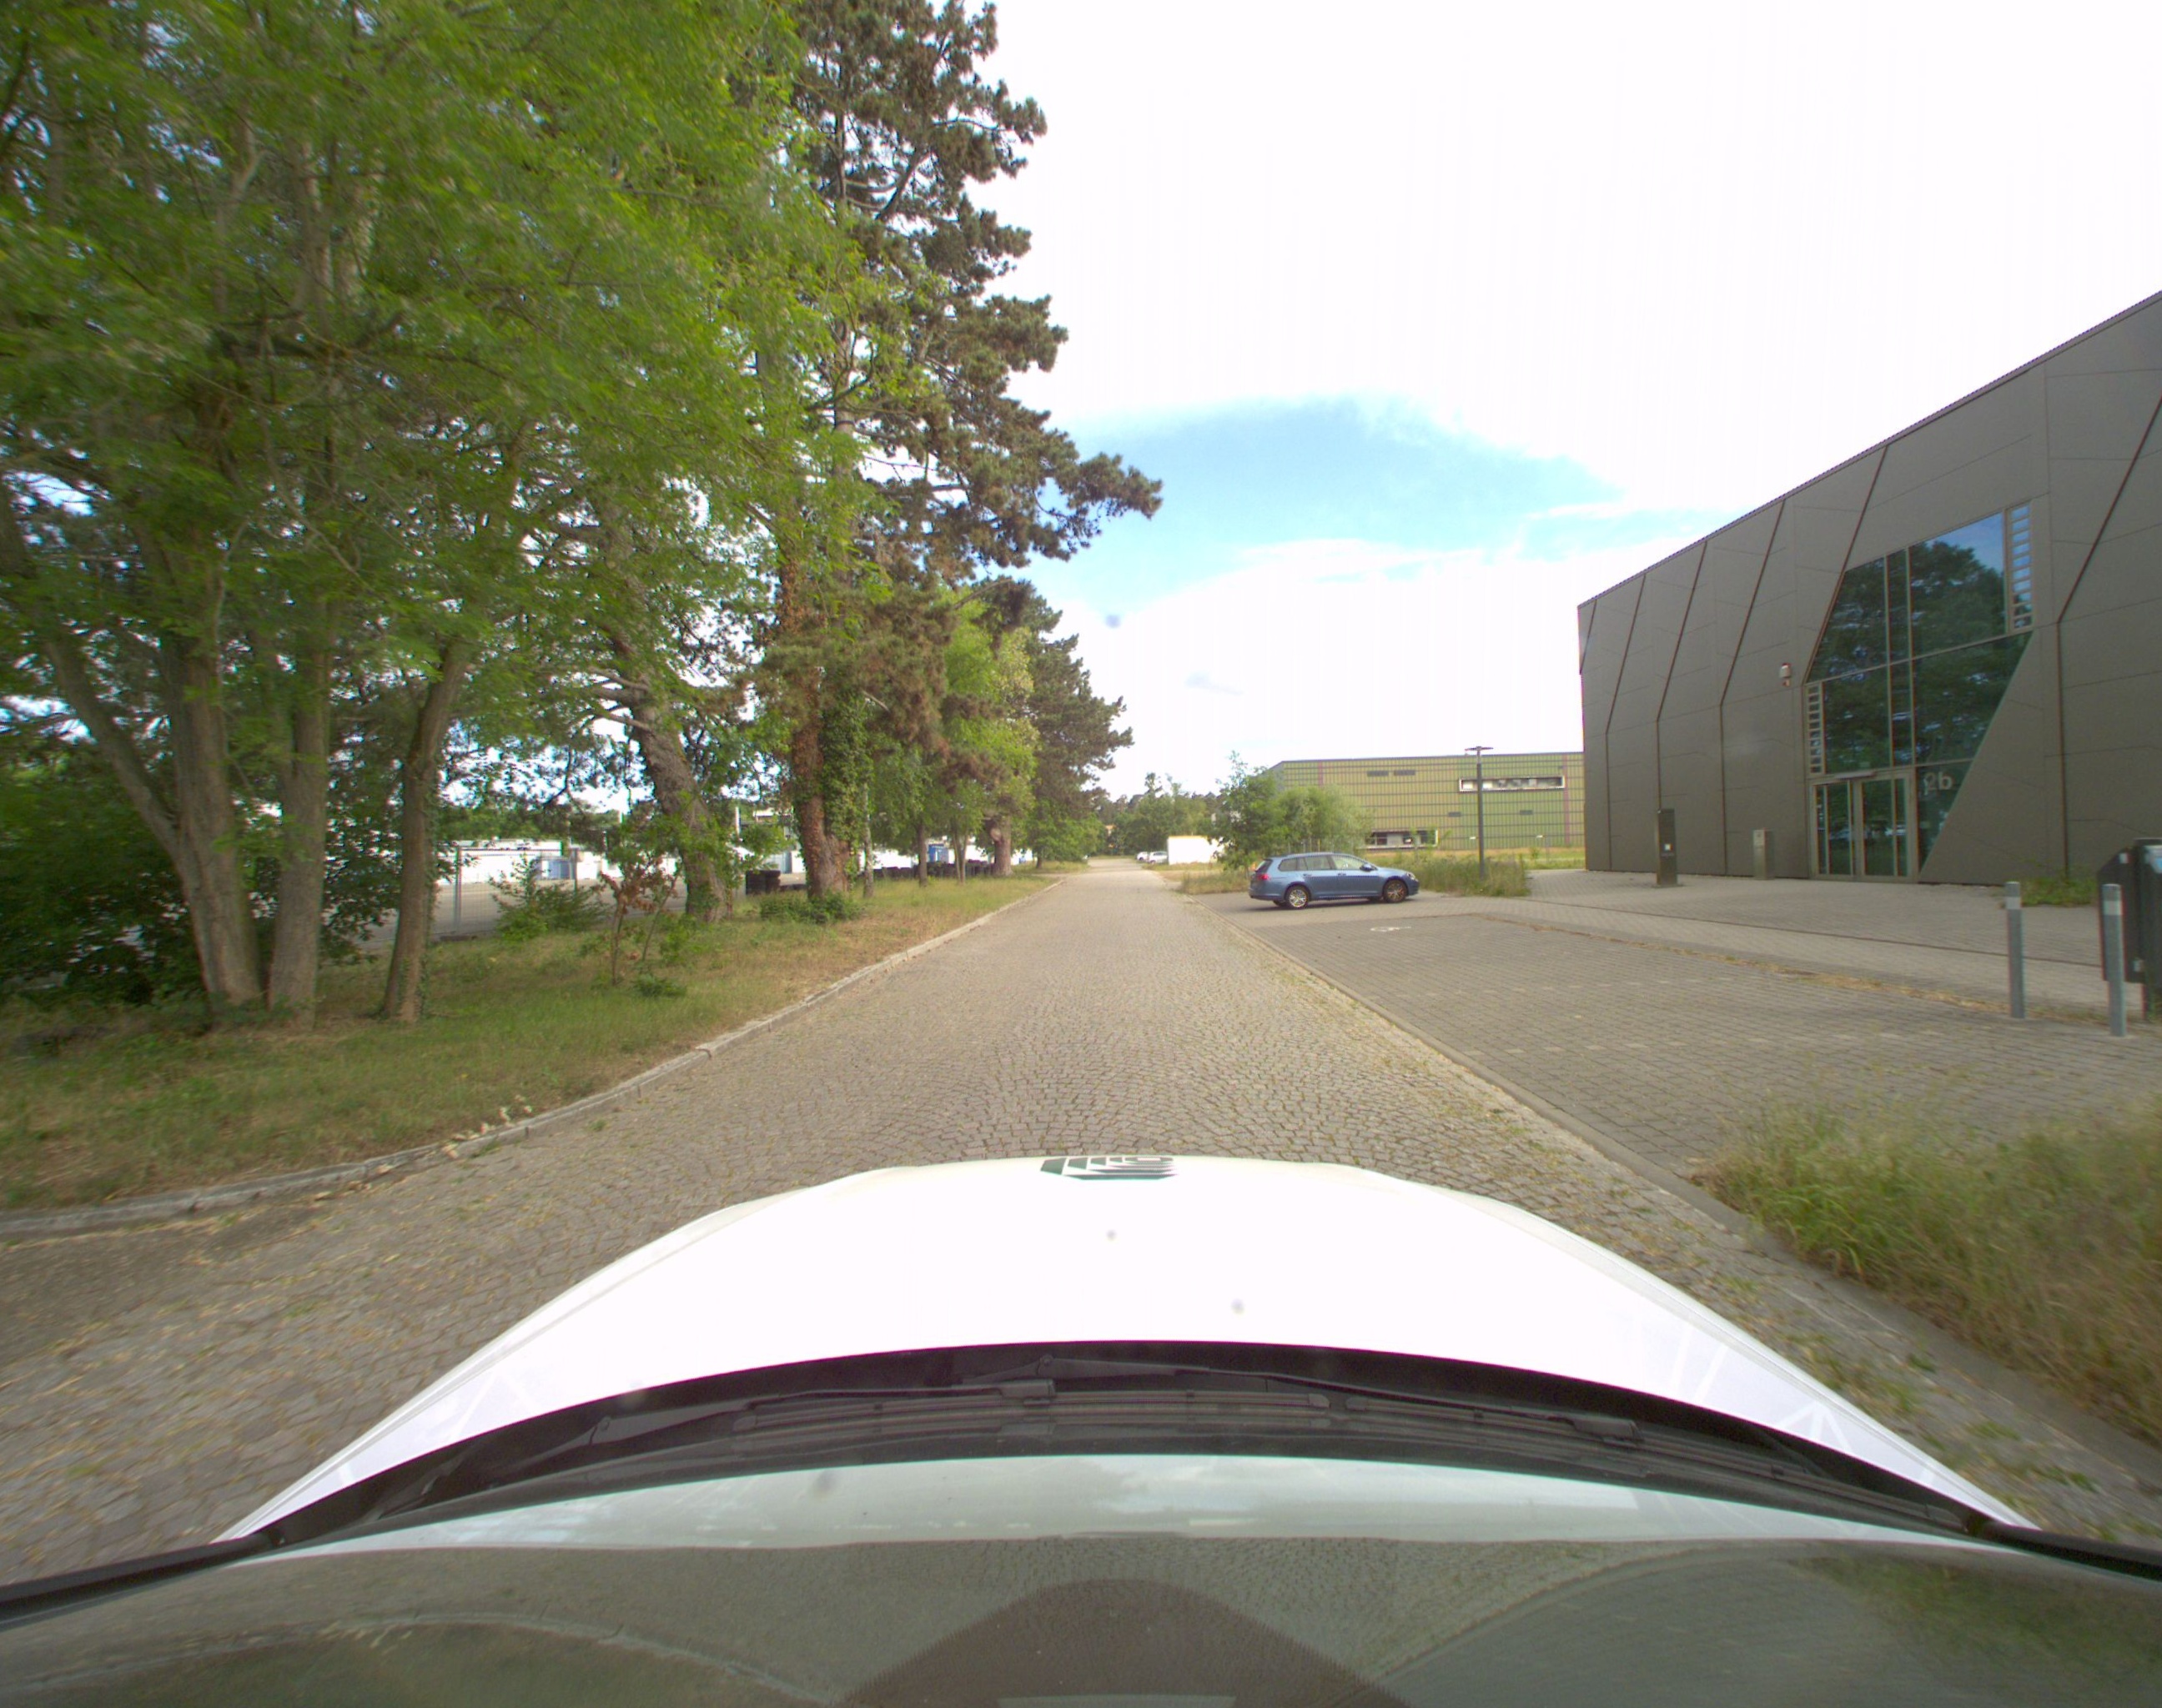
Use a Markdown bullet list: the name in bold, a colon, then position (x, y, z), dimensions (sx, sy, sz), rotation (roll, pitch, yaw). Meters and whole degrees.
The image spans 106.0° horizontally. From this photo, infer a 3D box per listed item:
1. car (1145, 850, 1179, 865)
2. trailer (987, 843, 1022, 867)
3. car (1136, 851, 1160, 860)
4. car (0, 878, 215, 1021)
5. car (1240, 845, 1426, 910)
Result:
- **car**: position (9.523, 0.368, 95.871), dimensions (3.838, 1.654, 1.686), rotation (-2, 0, -1)
- **trailer**: position (-10.202, 0.102, 109.171), dimensions (3.144, 3.067, 8.794), rotation (-2, 0, 4)
- **car**: position (11.710, 0.236, 142.003), dimensions (4.008, 1.502, 1.549), rotation (-2, 0, 3)
- **car**: position (-12.231, 1.063, 8.426), dimensions (1.710, 1.438, 4.466), rotation (-1, 0, 0)
- **car**: position (6.820, 0.610, 22.363), dimensions (4.509, 1.443, 1.822), rotation (-4, 0, -1)
